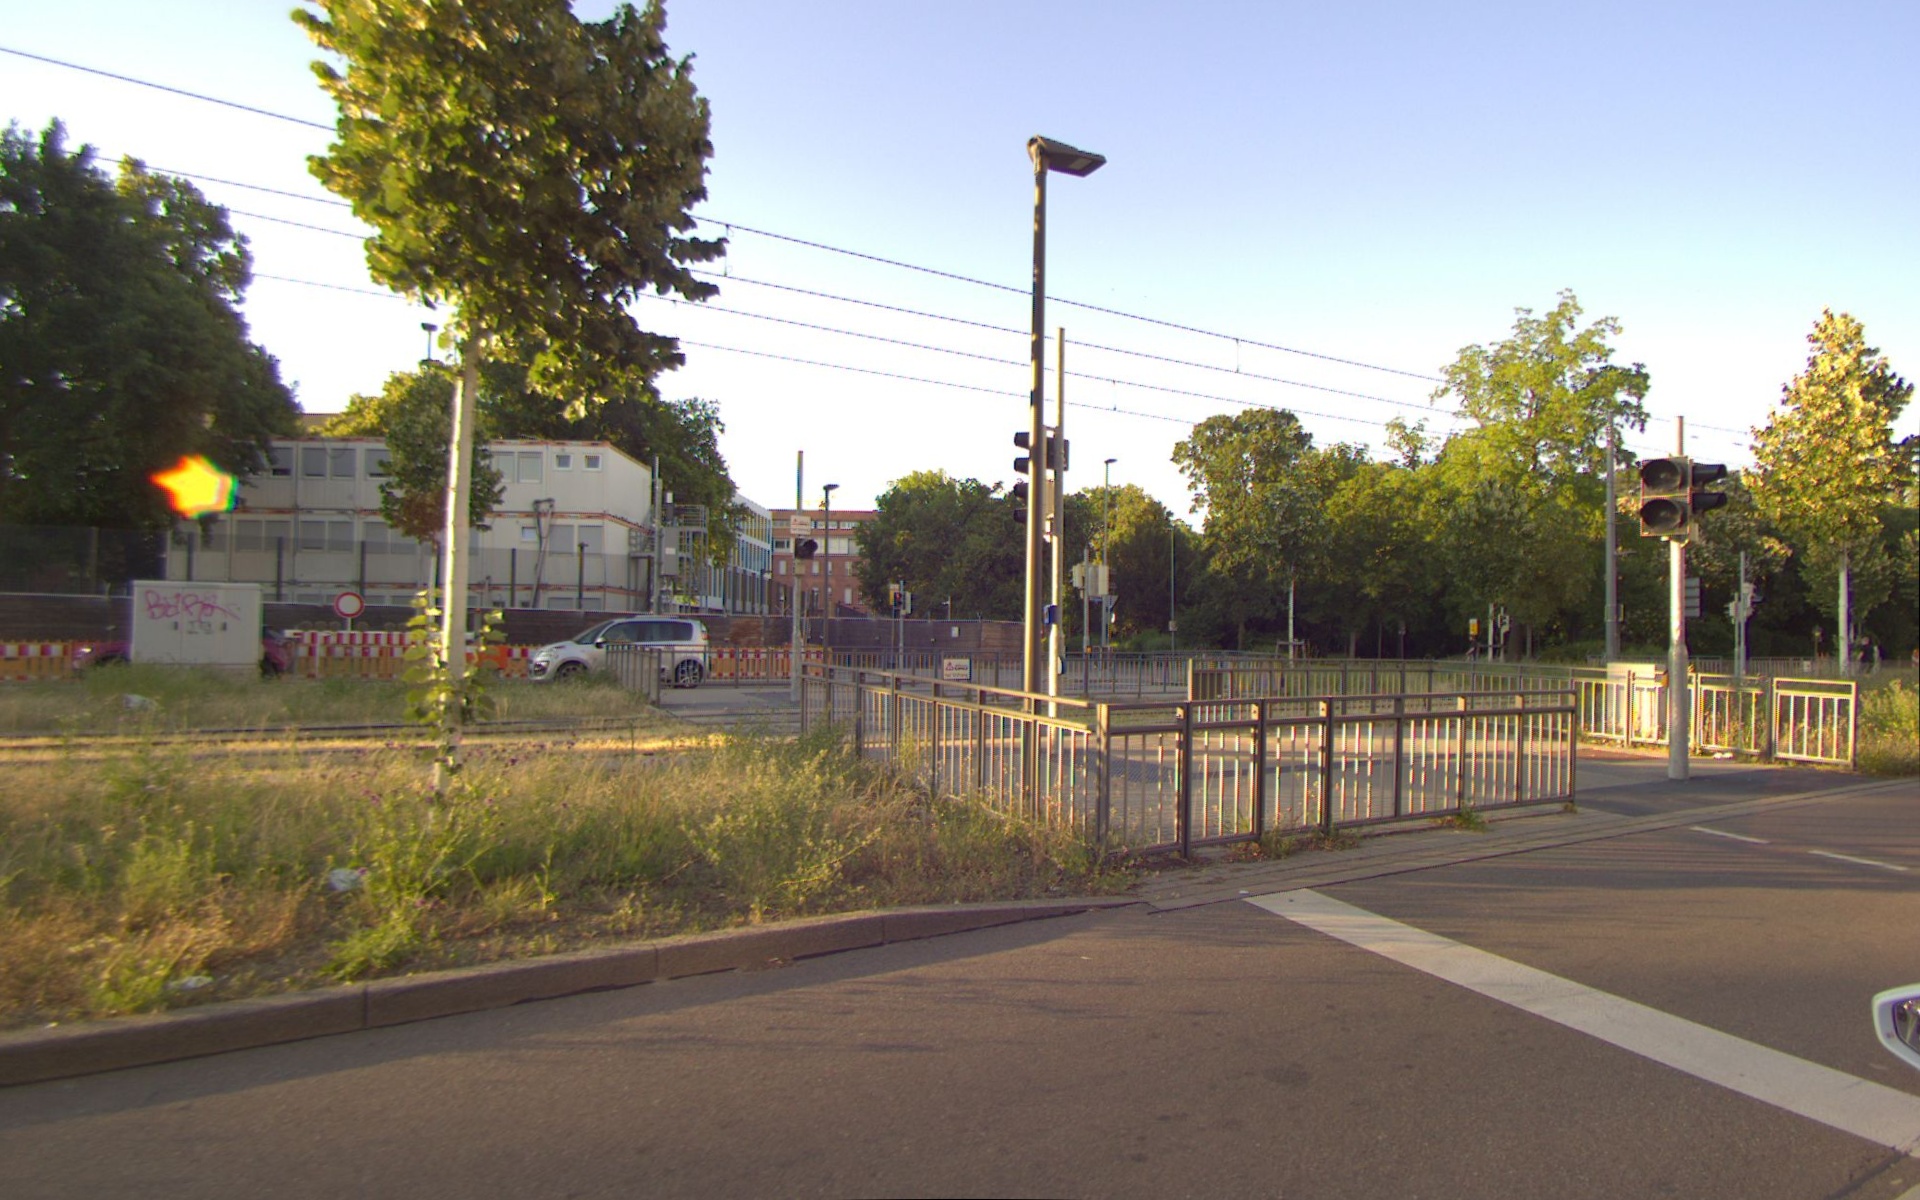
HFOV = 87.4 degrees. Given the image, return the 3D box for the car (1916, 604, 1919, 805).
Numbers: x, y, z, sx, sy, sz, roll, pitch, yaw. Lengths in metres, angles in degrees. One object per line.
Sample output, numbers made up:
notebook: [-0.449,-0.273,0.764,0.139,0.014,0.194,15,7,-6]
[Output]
car: [10.296,0.896,8.687,4.218,1.681,1.846,1,0,-30]

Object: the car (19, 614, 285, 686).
car: [-18.292,1.079,23.071,4.468,1.501,1.984,1,0,-30]

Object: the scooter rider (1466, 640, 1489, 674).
scooter rider: [24.175,2.650,46.934,0.806,1.534,0.653,1,-2,6]

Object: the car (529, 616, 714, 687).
car: [-7.709,1.158,22.937,3.738,1.501,1.792,2,-2,-30]

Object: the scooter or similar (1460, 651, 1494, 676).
scooter or similar: [24.148,2.961,46.905,1.306,1.168,0.514,1,-2,5]

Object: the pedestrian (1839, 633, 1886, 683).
pedestrian: [29.747,1.906,33.107,0.798,1.607,0.835,1,-2,-16]
